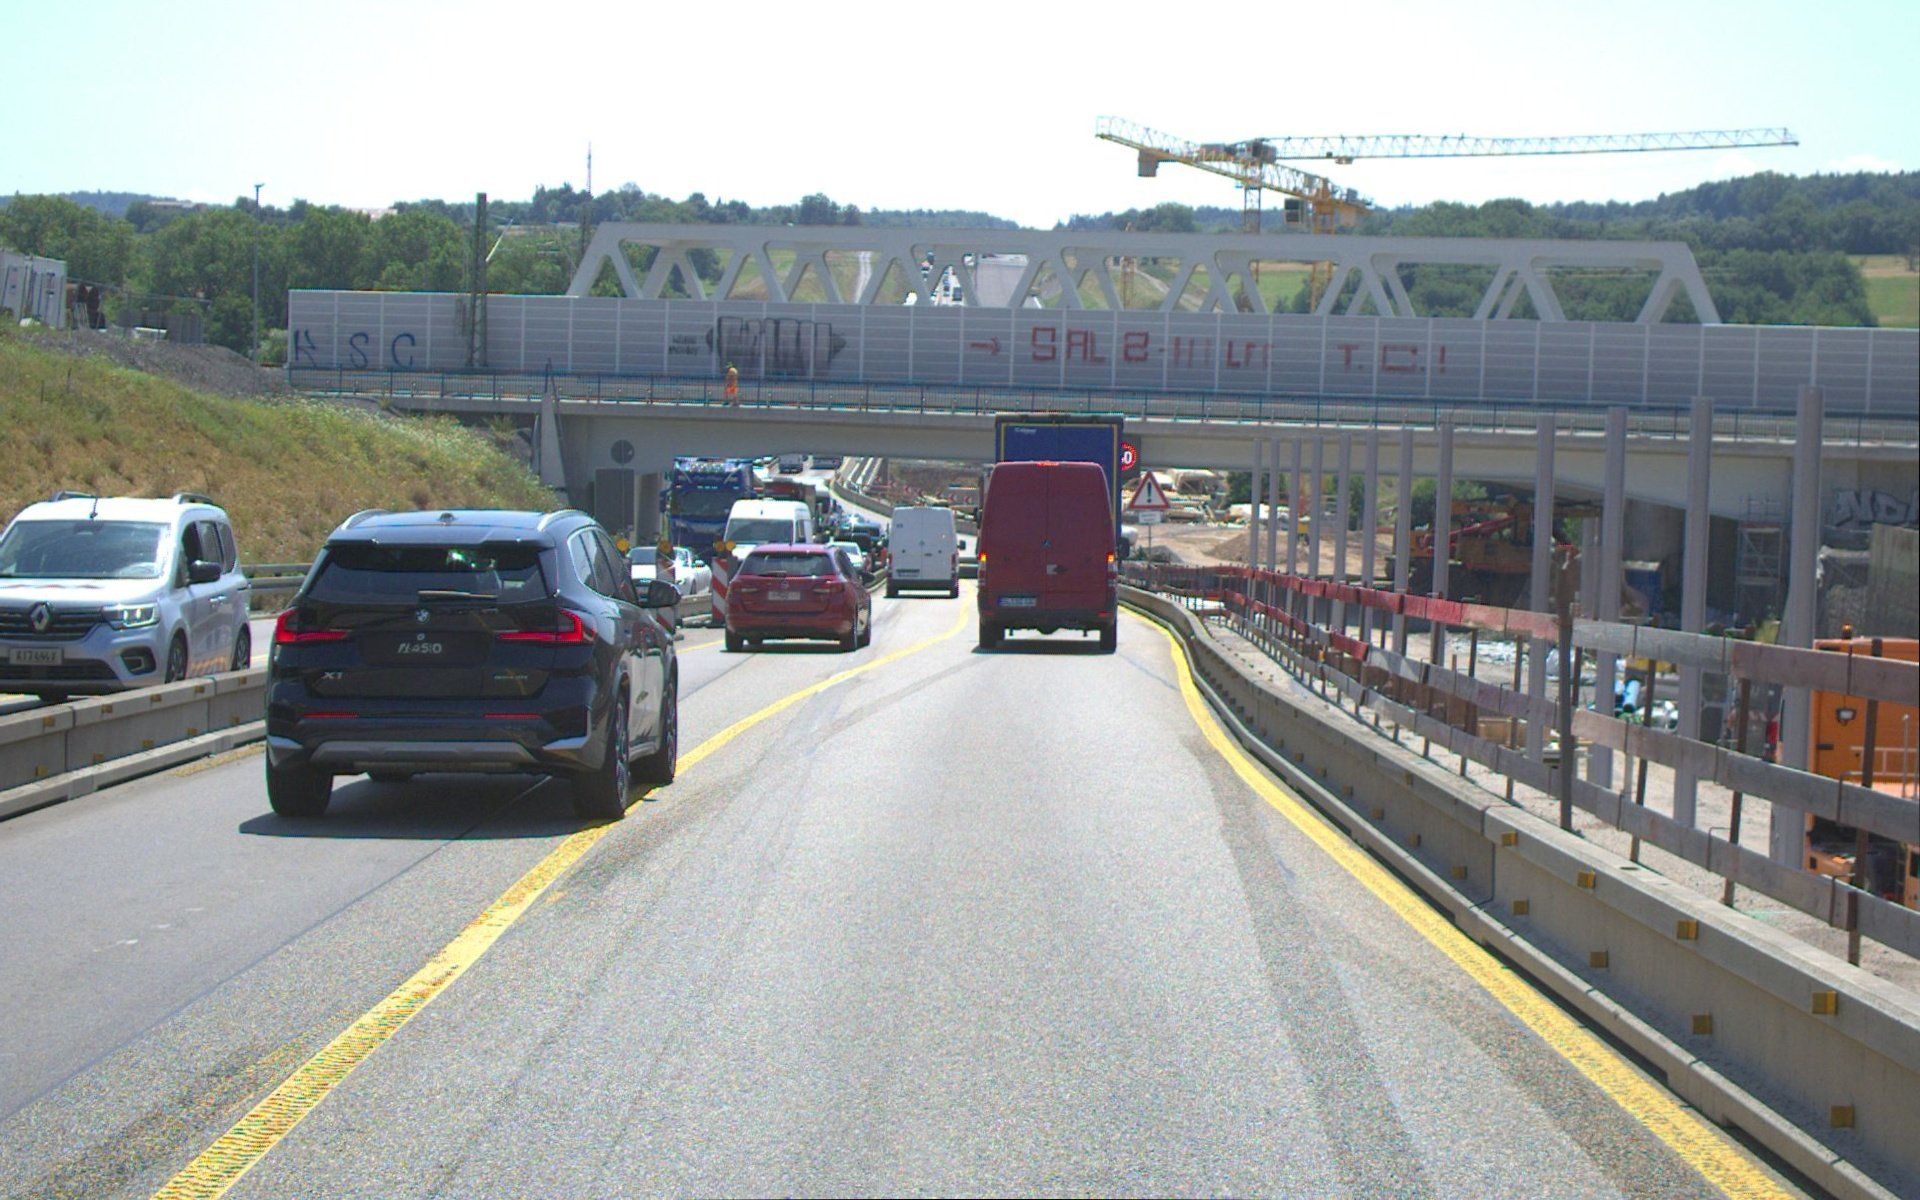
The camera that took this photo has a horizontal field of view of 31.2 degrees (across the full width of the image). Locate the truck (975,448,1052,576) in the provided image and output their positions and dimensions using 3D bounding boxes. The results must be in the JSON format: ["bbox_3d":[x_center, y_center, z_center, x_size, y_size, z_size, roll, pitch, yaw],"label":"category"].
[{"bbox_3d":[2.436,-3.900,152.566,2.835,5.380,12.911,1,1,3],"label":"truck"}]

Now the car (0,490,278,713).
[{"bbox_3d":[-7.129,-0.044,28.954,1.880,1.739,4.483,0,1,0],"label":"car"}]

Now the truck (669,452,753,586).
[{"bbox_3d":[-7.612,-2.496,105.541,2.357,4.001,4.001,1,1,-2],"label":"truck"}]

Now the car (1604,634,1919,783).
[{"bbox_3d":[16.295,2.159,68.792,6.086,2.576,2.531,2,3,-9],"label":"car"}]

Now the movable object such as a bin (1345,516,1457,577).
[{"bbox_3d":[20.991,-2.549,163.860,5.147,2.798,2.142,1,1,6],"label":"movable object such as a bin"}]

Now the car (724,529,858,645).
[{"bbox_3d":[-2.351,-0.212,47.739,1.775,1.512,4.207,0,2,-3],"label":"car"}]

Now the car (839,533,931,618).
[{"bbox_3d":[-1.552,-0.532,70.982,1.839,1.648,4.165,0,2,-1],"label":"car"}]

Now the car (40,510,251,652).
[{"bbox_3d":[-10.612,-0.297,45.072,1.790,1.756,4.538,0,1,-1],"label":"car"}]

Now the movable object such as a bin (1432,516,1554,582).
[{"bbox_3d":[23.578,-2.257,152.114,5.147,2.798,2.142,1,1,6],"label":"movable object such as a bin"}]

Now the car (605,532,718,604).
[{"bbox_3d":[-6.384,-0.722,73.897,1.800,1.442,4.637,1,1,2],"label":"car"}]

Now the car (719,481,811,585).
[{"bbox_3d":[-5.104,-1.796,90.841,1.993,2.598,7.011,1,1,0],"label":"car"}]

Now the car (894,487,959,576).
[{"bbox_3d":[-0.937,-1.938,96.563,1.776,2.433,4.206,0,1,-1],"label":"car"}]

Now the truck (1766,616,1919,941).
[{"bbox_3d":[12.821,2.271,45.833,2.758,3.873,5.882,1,1,1],"label":"truck"}]

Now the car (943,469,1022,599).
[{"bbox_3d":[0.705,-2.188,112.943,2.450,4.146,6.861,0,1,-1],"label":"car"}]

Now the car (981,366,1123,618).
[{"bbox_3d":[1.865,-2.286,73.671,2.621,5.015,10.398,0,1,-1],"label":"car"}]

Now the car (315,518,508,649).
[{"bbox_3d":[-7.250,-0.264,45.857,1.791,1.606,4.733,1,1,0],"label":"car"}]

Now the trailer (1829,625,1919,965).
[{"bbox_3d":[12.726,2.453,38.566,2.758,3.873,13.049,1,1,1],"label":"trailer"}]

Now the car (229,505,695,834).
[{"bbox_3d":[-2.637,0.284,19.238,1.880,1.612,4.499,0,2,1],"label":"car"}]

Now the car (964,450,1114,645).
[{"bbox_3d":[1.096,-0.785,49.684,1.988,2.681,4.624,0,1,-1],"label":"car"}]

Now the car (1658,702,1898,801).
[{"bbox_3d":[17.961,3.319,75.648,4.728,1.767,2.000,3,3,1],"label":"car"}]

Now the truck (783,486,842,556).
[{"bbox_3d":[-8.456,-4.564,198.152,2.835,3.839,12.913,1,1,0],"label":"truck"}]

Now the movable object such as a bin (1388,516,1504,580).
[{"bbox_3d":[22.428,-2.414,158.852,5.147,2.798,2.142,1,1,6],"label":"movable object such as a bin"}]

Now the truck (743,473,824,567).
[{"bbox_3d":[-7.616,-3.488,149.751,2.835,3.839,12.913,1,1,0],"label":"truck"}]
